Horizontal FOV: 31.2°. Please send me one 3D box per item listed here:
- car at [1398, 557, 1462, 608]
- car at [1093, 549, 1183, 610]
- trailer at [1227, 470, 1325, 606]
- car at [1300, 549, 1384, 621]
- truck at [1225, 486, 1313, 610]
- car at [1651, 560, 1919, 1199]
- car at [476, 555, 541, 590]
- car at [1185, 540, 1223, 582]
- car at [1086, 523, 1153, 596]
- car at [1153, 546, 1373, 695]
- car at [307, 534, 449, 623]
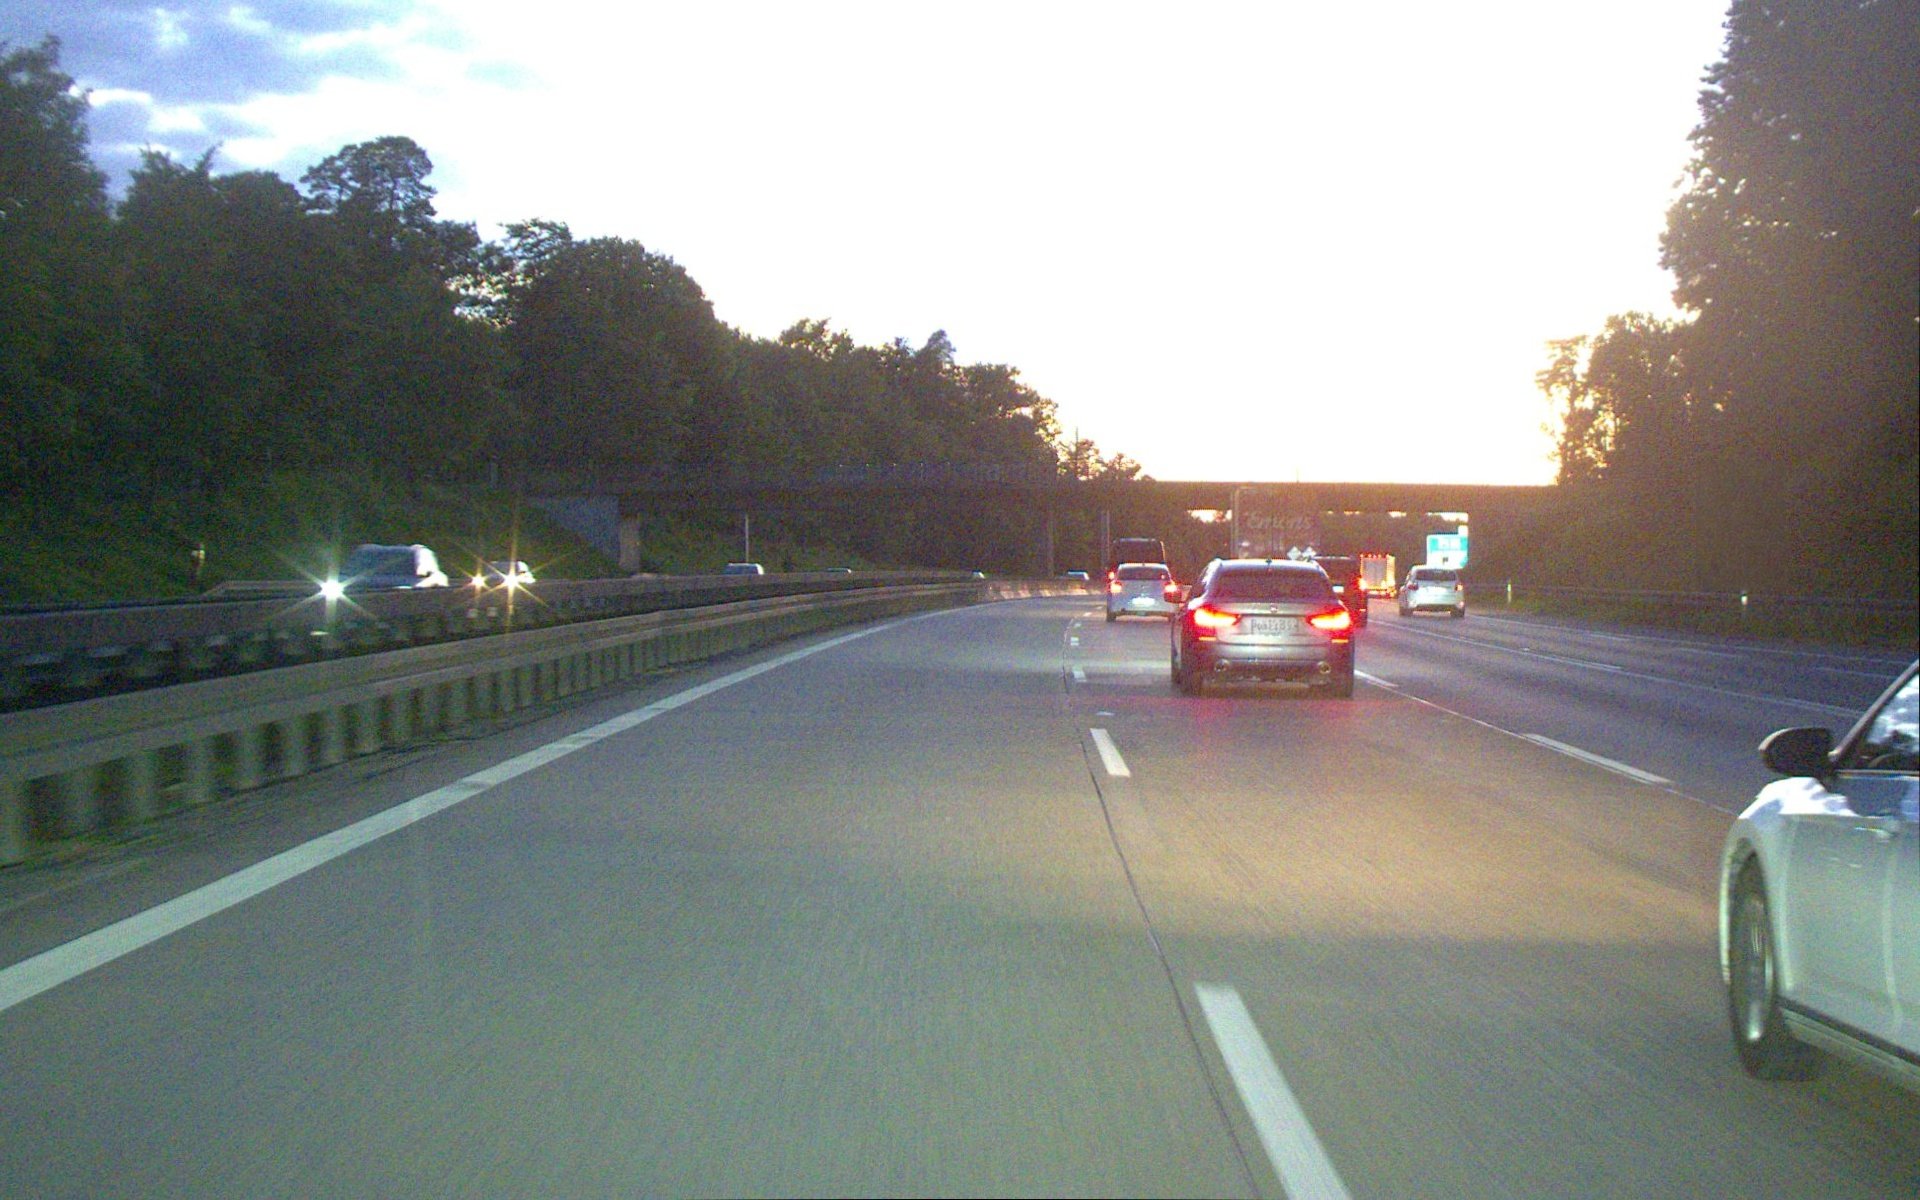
[{"bbox_3d":[14.103,-0.512,103.217,1.860,1.437,4.110,0,-1,8],"label":"car"},{"bbox_3d":[4.338,-0.517,84.278,1.859,1.437,3.721,0,1,-3],"label":"car"},{"bbox_3d":[10.332,-1.940,113.096,2.907,4.087,10.355,1,-1,4],"label":"trailer"},{"bbox_3d":[9.063,-0.349,81.766,1.903,1.638,5.051,1,0,6],"label":"car"},{"bbox_3d":[11.043,-1.765,123.624,2.885,4.087,10.829,1,-1,4],"label":"truck"},{"bbox_3d":[3.113,0.670,8.380,1.809,1.461,5.132,0,1,0],"label":"car"},{"bbox_3d":[-18.375,-1.115,140.032,1.815,1.376,4.908,1,1,2],"label":"car"},{"bbox_3d":[15.245,-2.419,214.636,2.166,2.411,5.562,1,-1,6],"label":"car"},{"bbox_3d":[5.643,-1.393,120.926,2.166,2.411,5.562,1,-1,4],"label":"car"},{"bbox_3d":[3.315,0.174,38.612,1.909,1.532,5.232,0,1,-1],"label":"car"},{"bbox_3d":[-11.494,-0.443,68.176,1.993,1.699,4.551,1,1,1],"label":"car"}]
